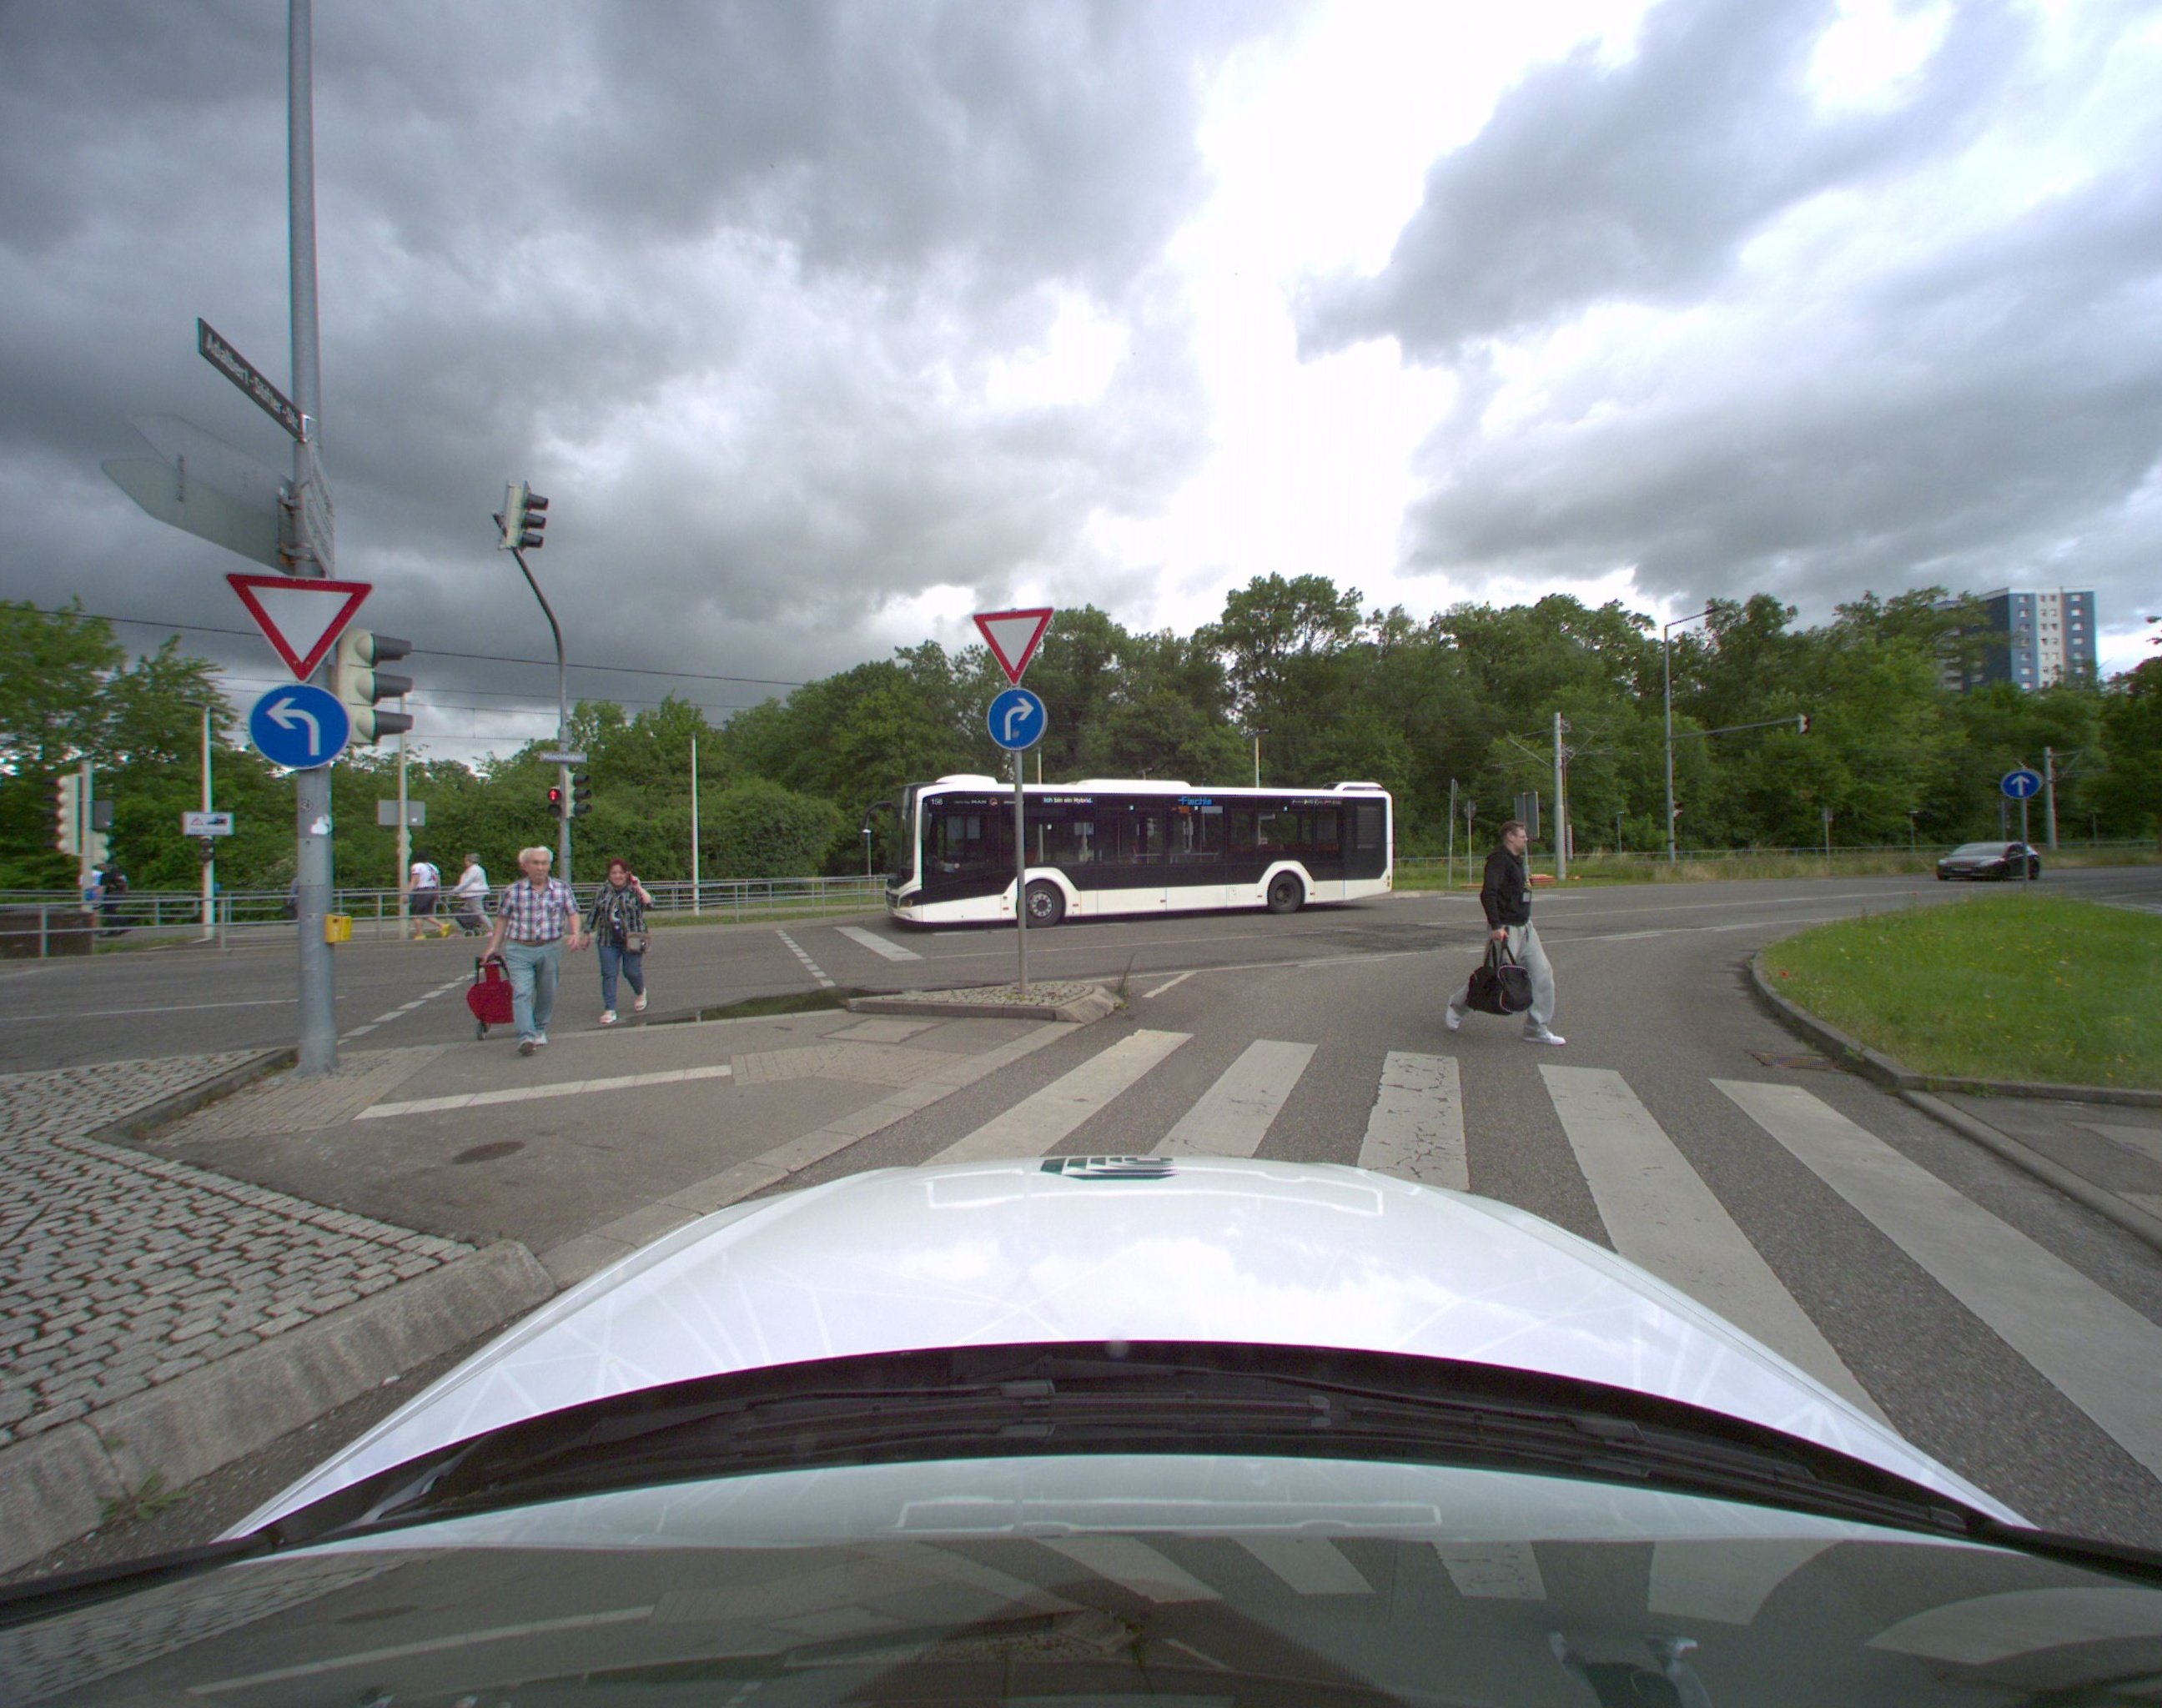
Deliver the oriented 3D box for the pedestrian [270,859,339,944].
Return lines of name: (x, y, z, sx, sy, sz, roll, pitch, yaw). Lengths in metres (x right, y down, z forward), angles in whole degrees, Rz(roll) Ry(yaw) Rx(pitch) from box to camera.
pedestrian: (-16.652, 0.999, 17.483, 0.961, 1.748, 0.715, 0, -1, -34)

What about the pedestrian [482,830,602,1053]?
pedestrian: (-4.292, 0.664, 6.518, 0.701, 1.633, 0.715, -3, -3, -32)

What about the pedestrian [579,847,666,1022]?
pedestrian: (-4.384, 0.729, 7.819, 0.694, 1.567, 0.726, 0, -1, -28)

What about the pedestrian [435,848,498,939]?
pedestrian: (-12.266, 0.774, 16.295, 0.722, 1.748, 0.951, -1, -1, -18)

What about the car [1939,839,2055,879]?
car: (34.931, 0.158, 31.035, 4.436, 1.434, 1.746, -1, 0, -25)

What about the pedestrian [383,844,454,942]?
pedestrian: (-12.359, 0.708, 15.215, 0.722, 1.748, 0.951, -1, -1, -18)

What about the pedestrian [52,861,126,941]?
pedestrian: (-22.360, 1.049, 18.367, 0.947, 1.748, 0.725, -1, -1, 15)

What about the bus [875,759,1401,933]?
bus: (1.721, -0.221, 18.701, 12.215, 3.203, 2.654, -1, 0, -24)

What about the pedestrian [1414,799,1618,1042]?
pedestrian: (3.424, 0.479, 6.503, 0.955, 1.747, 1.057, -1, -1, -14)

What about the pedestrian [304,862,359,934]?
pedestrian: (-17.543, 1.004, 19.089, 0.723, 1.621, 0.799, 0, -1, -24)
